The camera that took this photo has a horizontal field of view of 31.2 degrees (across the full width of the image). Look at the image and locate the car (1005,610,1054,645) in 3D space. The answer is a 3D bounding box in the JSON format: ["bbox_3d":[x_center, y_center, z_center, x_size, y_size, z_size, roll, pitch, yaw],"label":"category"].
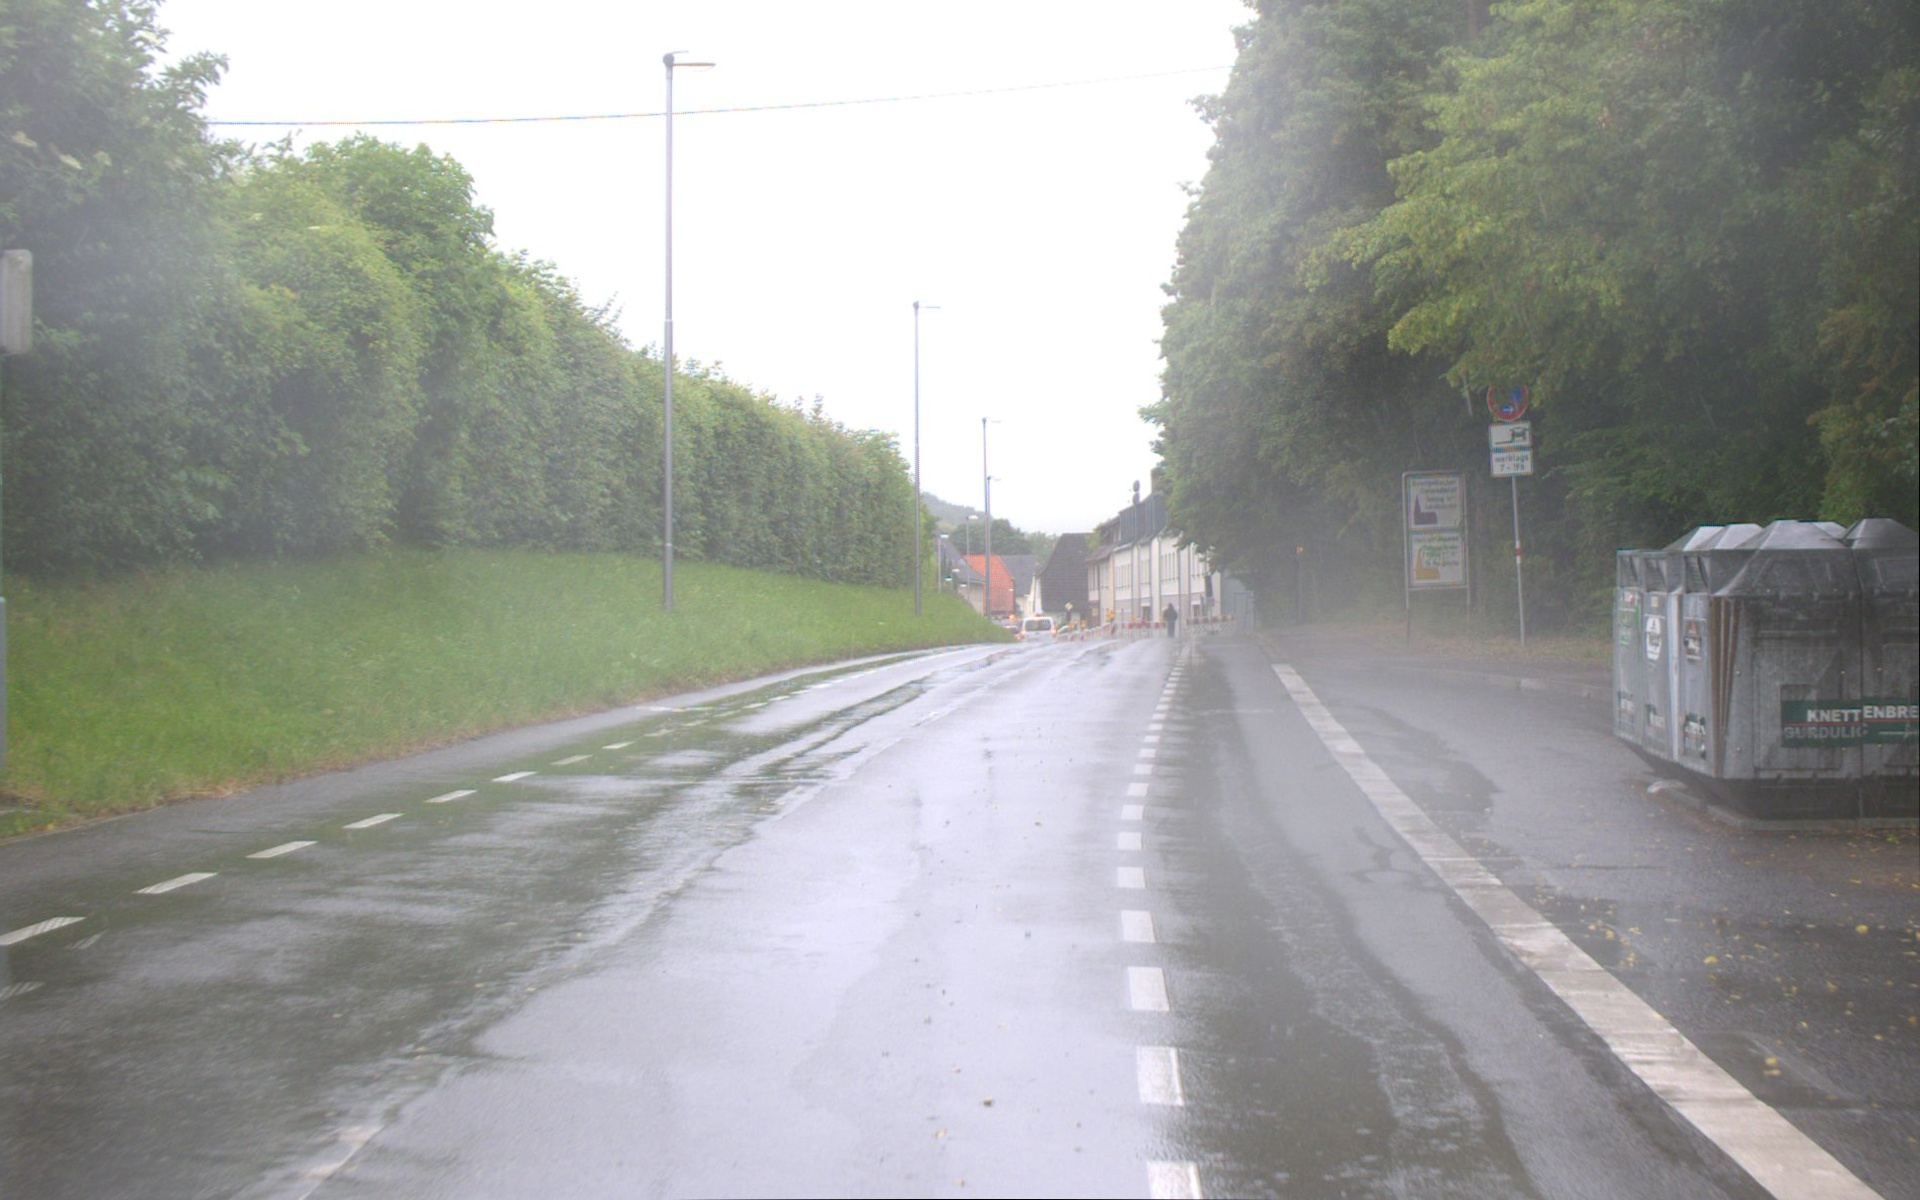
[{"bbox_3d":[3.430,1.364,170.061,1.993,1.605,4.001,1,1,-5],"label":"car"}]
